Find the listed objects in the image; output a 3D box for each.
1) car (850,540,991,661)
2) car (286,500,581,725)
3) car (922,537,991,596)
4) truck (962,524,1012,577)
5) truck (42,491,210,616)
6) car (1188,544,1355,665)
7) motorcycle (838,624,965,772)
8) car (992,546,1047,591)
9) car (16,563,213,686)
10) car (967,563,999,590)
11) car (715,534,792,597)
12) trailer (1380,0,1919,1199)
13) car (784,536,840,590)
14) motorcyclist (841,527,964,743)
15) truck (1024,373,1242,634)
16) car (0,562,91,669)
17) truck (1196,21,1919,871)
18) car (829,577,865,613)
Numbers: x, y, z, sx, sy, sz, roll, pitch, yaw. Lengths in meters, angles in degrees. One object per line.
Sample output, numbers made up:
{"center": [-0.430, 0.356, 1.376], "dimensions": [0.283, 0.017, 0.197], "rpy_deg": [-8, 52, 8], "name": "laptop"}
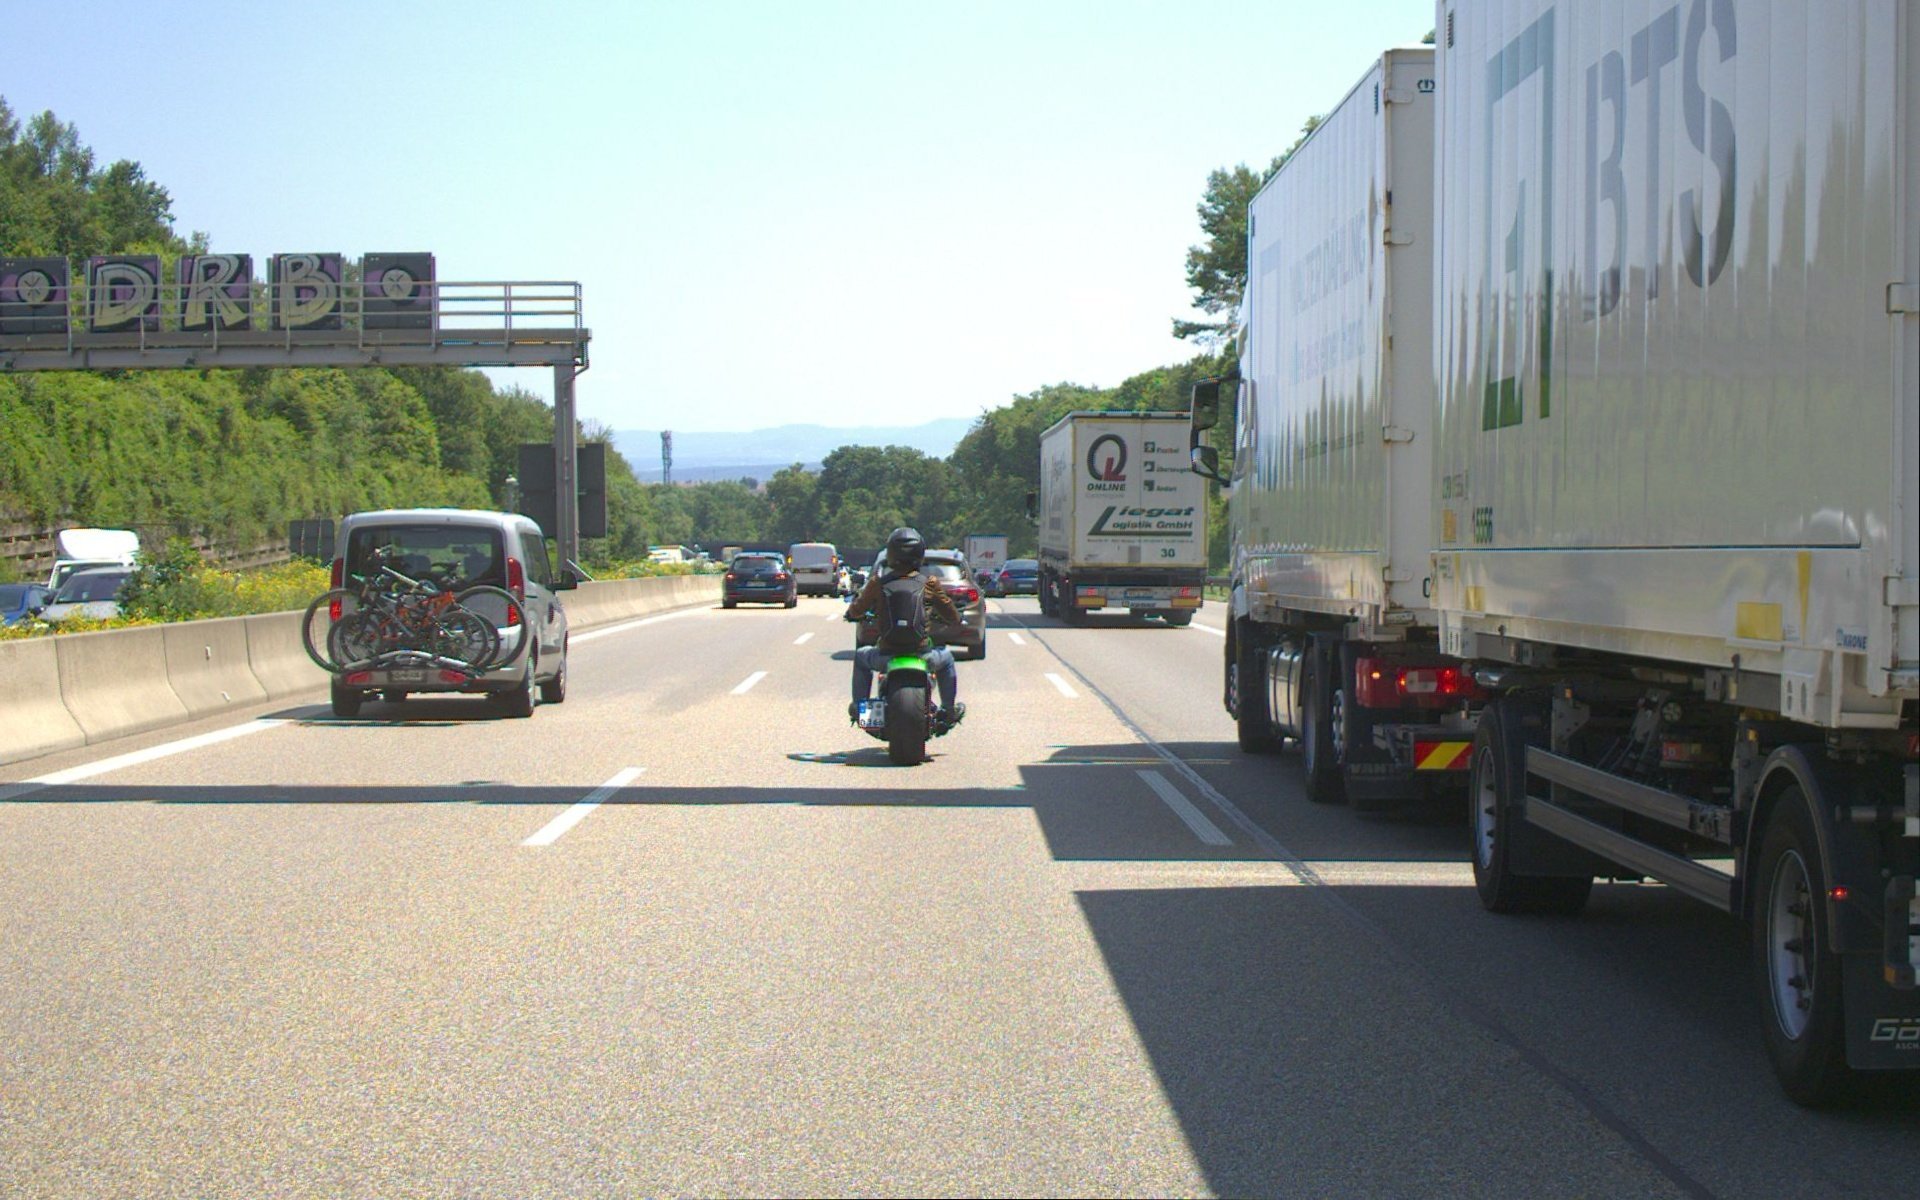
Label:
{"center": [-0.554, -0.031, 47.656], "dimensions": [1.845, 1.552, 4.440], "rpy_deg": [1, 1, -1], "name": "car"}
{"center": [-4.661, 0.076, 31.205], "dimensions": [1.898, 1.841, 5.483], "rpy_deg": [1, 1, -1], "name": "car"}
{"center": [-0.123, -0.939, 95.192], "dimensions": [1.831, 1.553, 4.120], "rpy_deg": [1, 1, -1], "name": "car"}
{"center": [1.759, -3.305, 227.702], "dimensions": [3.067, 3.335, 9.652], "rpy_deg": [1, 1, -1], "name": "truck"}
{"center": [-21.113, -1.210, 87.377], "dimensions": [2.579, 2.982, 7.063], "rpy_deg": [-2, 1, -1], "name": "truck"}
{"center": [4.274, 0.030, 47.804], "dimensions": [1.845, 1.552, 4.393], "rpy_deg": [1, 1, -1], "name": "car"}
{"center": [-0.399, 0.675, 24.582], "dimensions": [0.862, 0.978, 2.131], "rpy_deg": [0, 0, 0], "name": "motorcycle"}
{"center": [2.107, -1.129, 122.723], "dimensions": [1.831, 1.521, 4.027], "rpy_deg": [1, 1, -1], "name": "car"}
{"center": [-12.166, 0.317, 49.698], "dimensions": [1.843, 1.599, 4.117], "rpy_deg": [-2, 1, -1], "name": "car"}
{"center": [1.351, -1.392, 204.438], "dimensions": [1.831, 1.521, 4.027], "rpy_deg": [1, 1, -1], "name": "car"}
{"center": [-5.296, -0.905, 88.563], "dimensions": [1.758, 1.538, 4.395], "rpy_deg": [1, 1, -1], "name": "car"}
{"center": [3.443, -0.752, 11.403], "dimensions": [2.680, 4.161, 10.066], "rpy_deg": [0, 1, -1], "name": "trailer"}
{"center": [-5.131, -1.303, 119.454], "dimensions": [1.831, 1.804, 4.120], "rpy_deg": [1, 1, -1], "name": "car"}
{"center": [-0.404, 0.243, 24.529], "dimensions": [0.856, 1.510, 0.914], "rpy_deg": [0, 0, 0], "name": "motorcyclist"}
{"center": [3.334, -1.930, 71.929], "dimensions": [3.383, 4.702, 17.710], "rpy_deg": [1, 1, -1], "name": "truck"}
{"center": [-14.614, 0.227, 53.056], "dimensions": [1.515, 1.530, 3.550], "rpy_deg": [-2, 1, -1], "name": "car"}
{"center": [3.295, -0.828, 21.779], "dimensions": [2.680, 4.045, 10.626], "rpy_deg": [0, 1, -1], "name": "truck"}
{"center": [-5.957, -0.282, 181.699], "dimensions": [1.831, 1.804, 4.120], "rpy_deg": [1, 1, -1], "name": "car"}
